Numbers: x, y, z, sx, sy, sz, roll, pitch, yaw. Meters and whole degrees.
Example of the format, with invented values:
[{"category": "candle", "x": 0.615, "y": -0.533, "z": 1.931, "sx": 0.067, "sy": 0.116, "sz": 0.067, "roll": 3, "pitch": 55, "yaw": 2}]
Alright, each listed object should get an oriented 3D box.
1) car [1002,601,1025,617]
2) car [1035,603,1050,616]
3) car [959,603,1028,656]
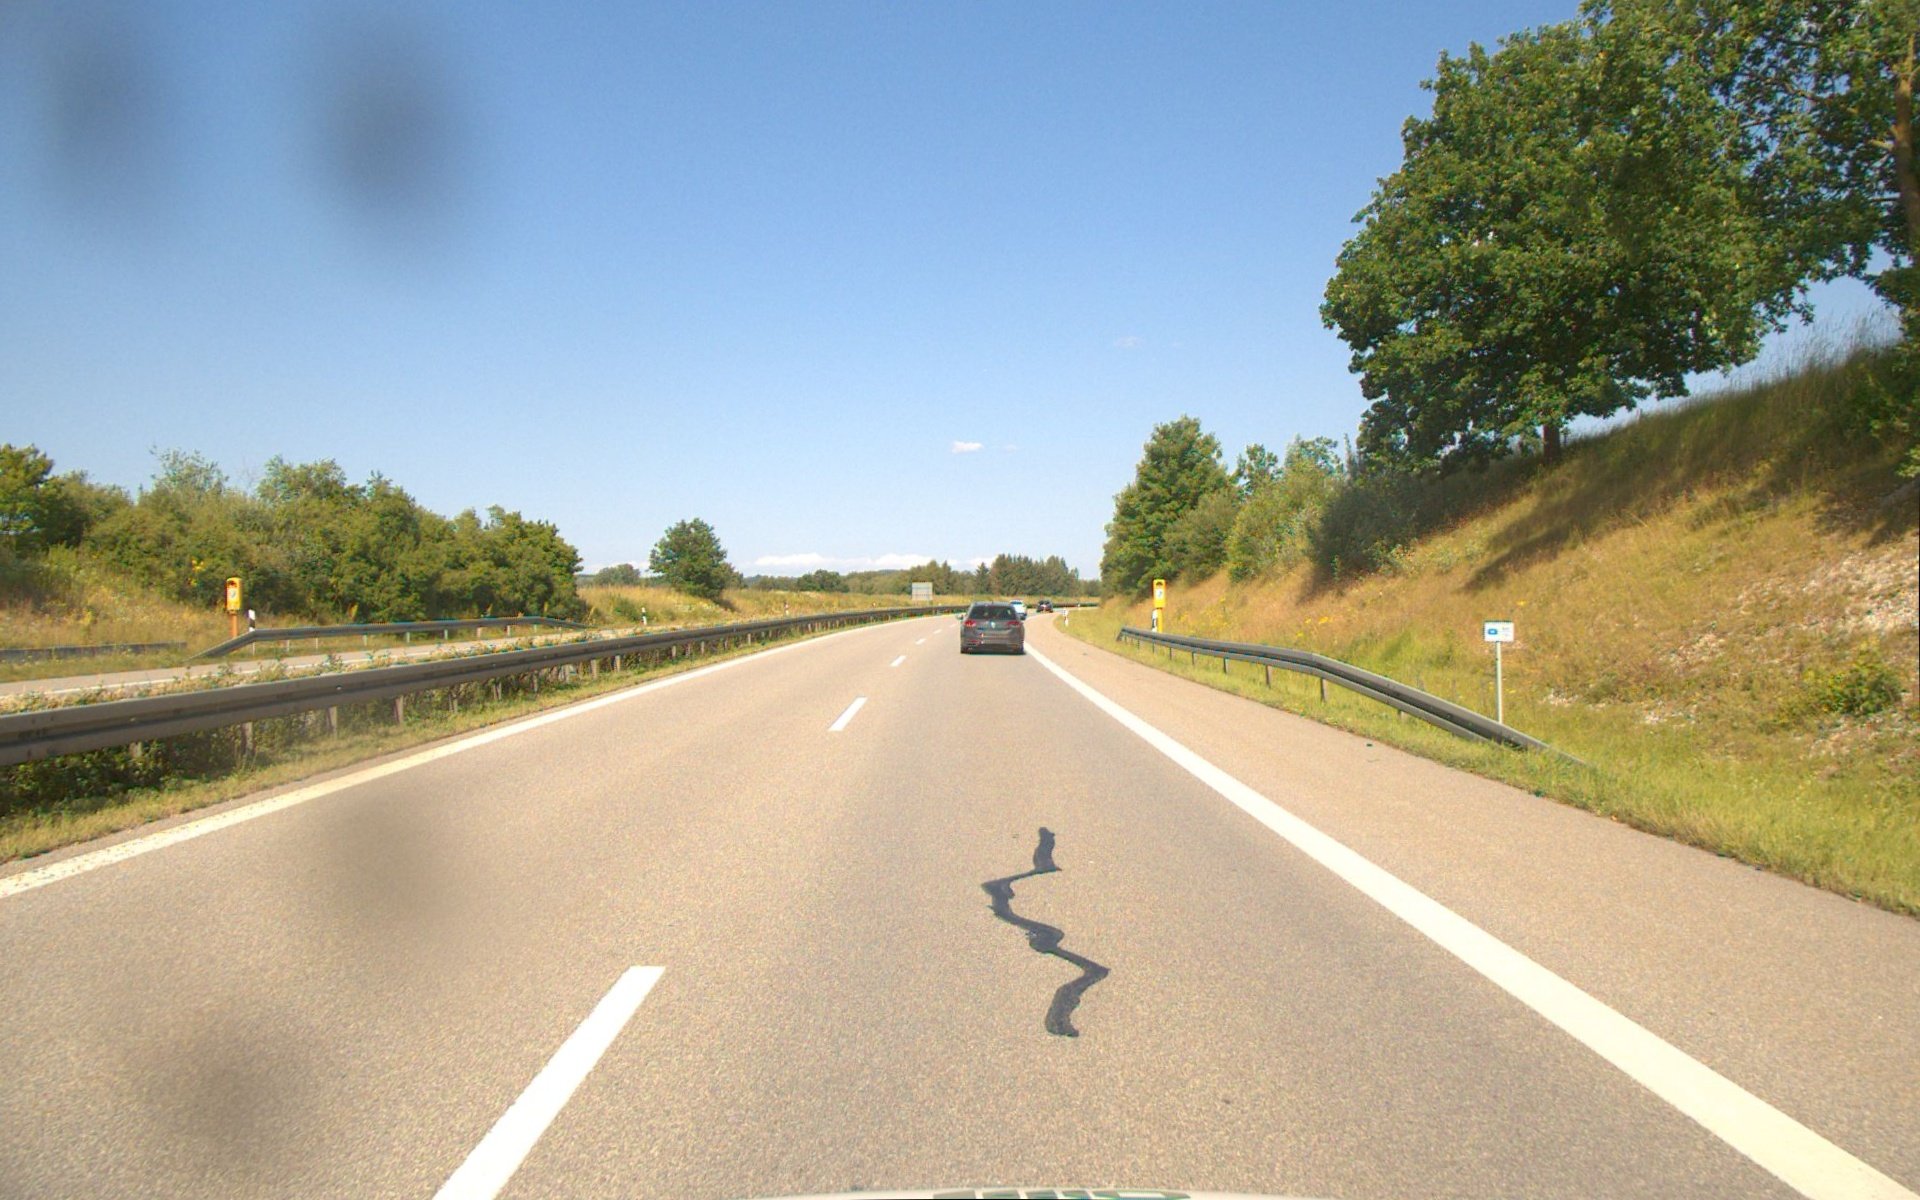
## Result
[{"category": "car", "x": 5.057, "y": 0.820, "z": 155.601, "sx": 1.965, "sy": 1.368, "sz": 4.001, "roll": 2, "pitch": -1, "yaw": 3}, {"category": "car", "x": 9.833, "y": 1.177, "z": 197.591, "sx": 1.675, "sy": 1.411, "sz": 3.356, "roll": 2, "pitch": -1, "yaw": 3}, {"category": "car", "x": 0.888, "y": 0.791, "z": 46.358, "sx": 1.755, "sy": 1.368, "sz": 3.999, "roll": 0, "pitch": 0, "yaw": -1}]
